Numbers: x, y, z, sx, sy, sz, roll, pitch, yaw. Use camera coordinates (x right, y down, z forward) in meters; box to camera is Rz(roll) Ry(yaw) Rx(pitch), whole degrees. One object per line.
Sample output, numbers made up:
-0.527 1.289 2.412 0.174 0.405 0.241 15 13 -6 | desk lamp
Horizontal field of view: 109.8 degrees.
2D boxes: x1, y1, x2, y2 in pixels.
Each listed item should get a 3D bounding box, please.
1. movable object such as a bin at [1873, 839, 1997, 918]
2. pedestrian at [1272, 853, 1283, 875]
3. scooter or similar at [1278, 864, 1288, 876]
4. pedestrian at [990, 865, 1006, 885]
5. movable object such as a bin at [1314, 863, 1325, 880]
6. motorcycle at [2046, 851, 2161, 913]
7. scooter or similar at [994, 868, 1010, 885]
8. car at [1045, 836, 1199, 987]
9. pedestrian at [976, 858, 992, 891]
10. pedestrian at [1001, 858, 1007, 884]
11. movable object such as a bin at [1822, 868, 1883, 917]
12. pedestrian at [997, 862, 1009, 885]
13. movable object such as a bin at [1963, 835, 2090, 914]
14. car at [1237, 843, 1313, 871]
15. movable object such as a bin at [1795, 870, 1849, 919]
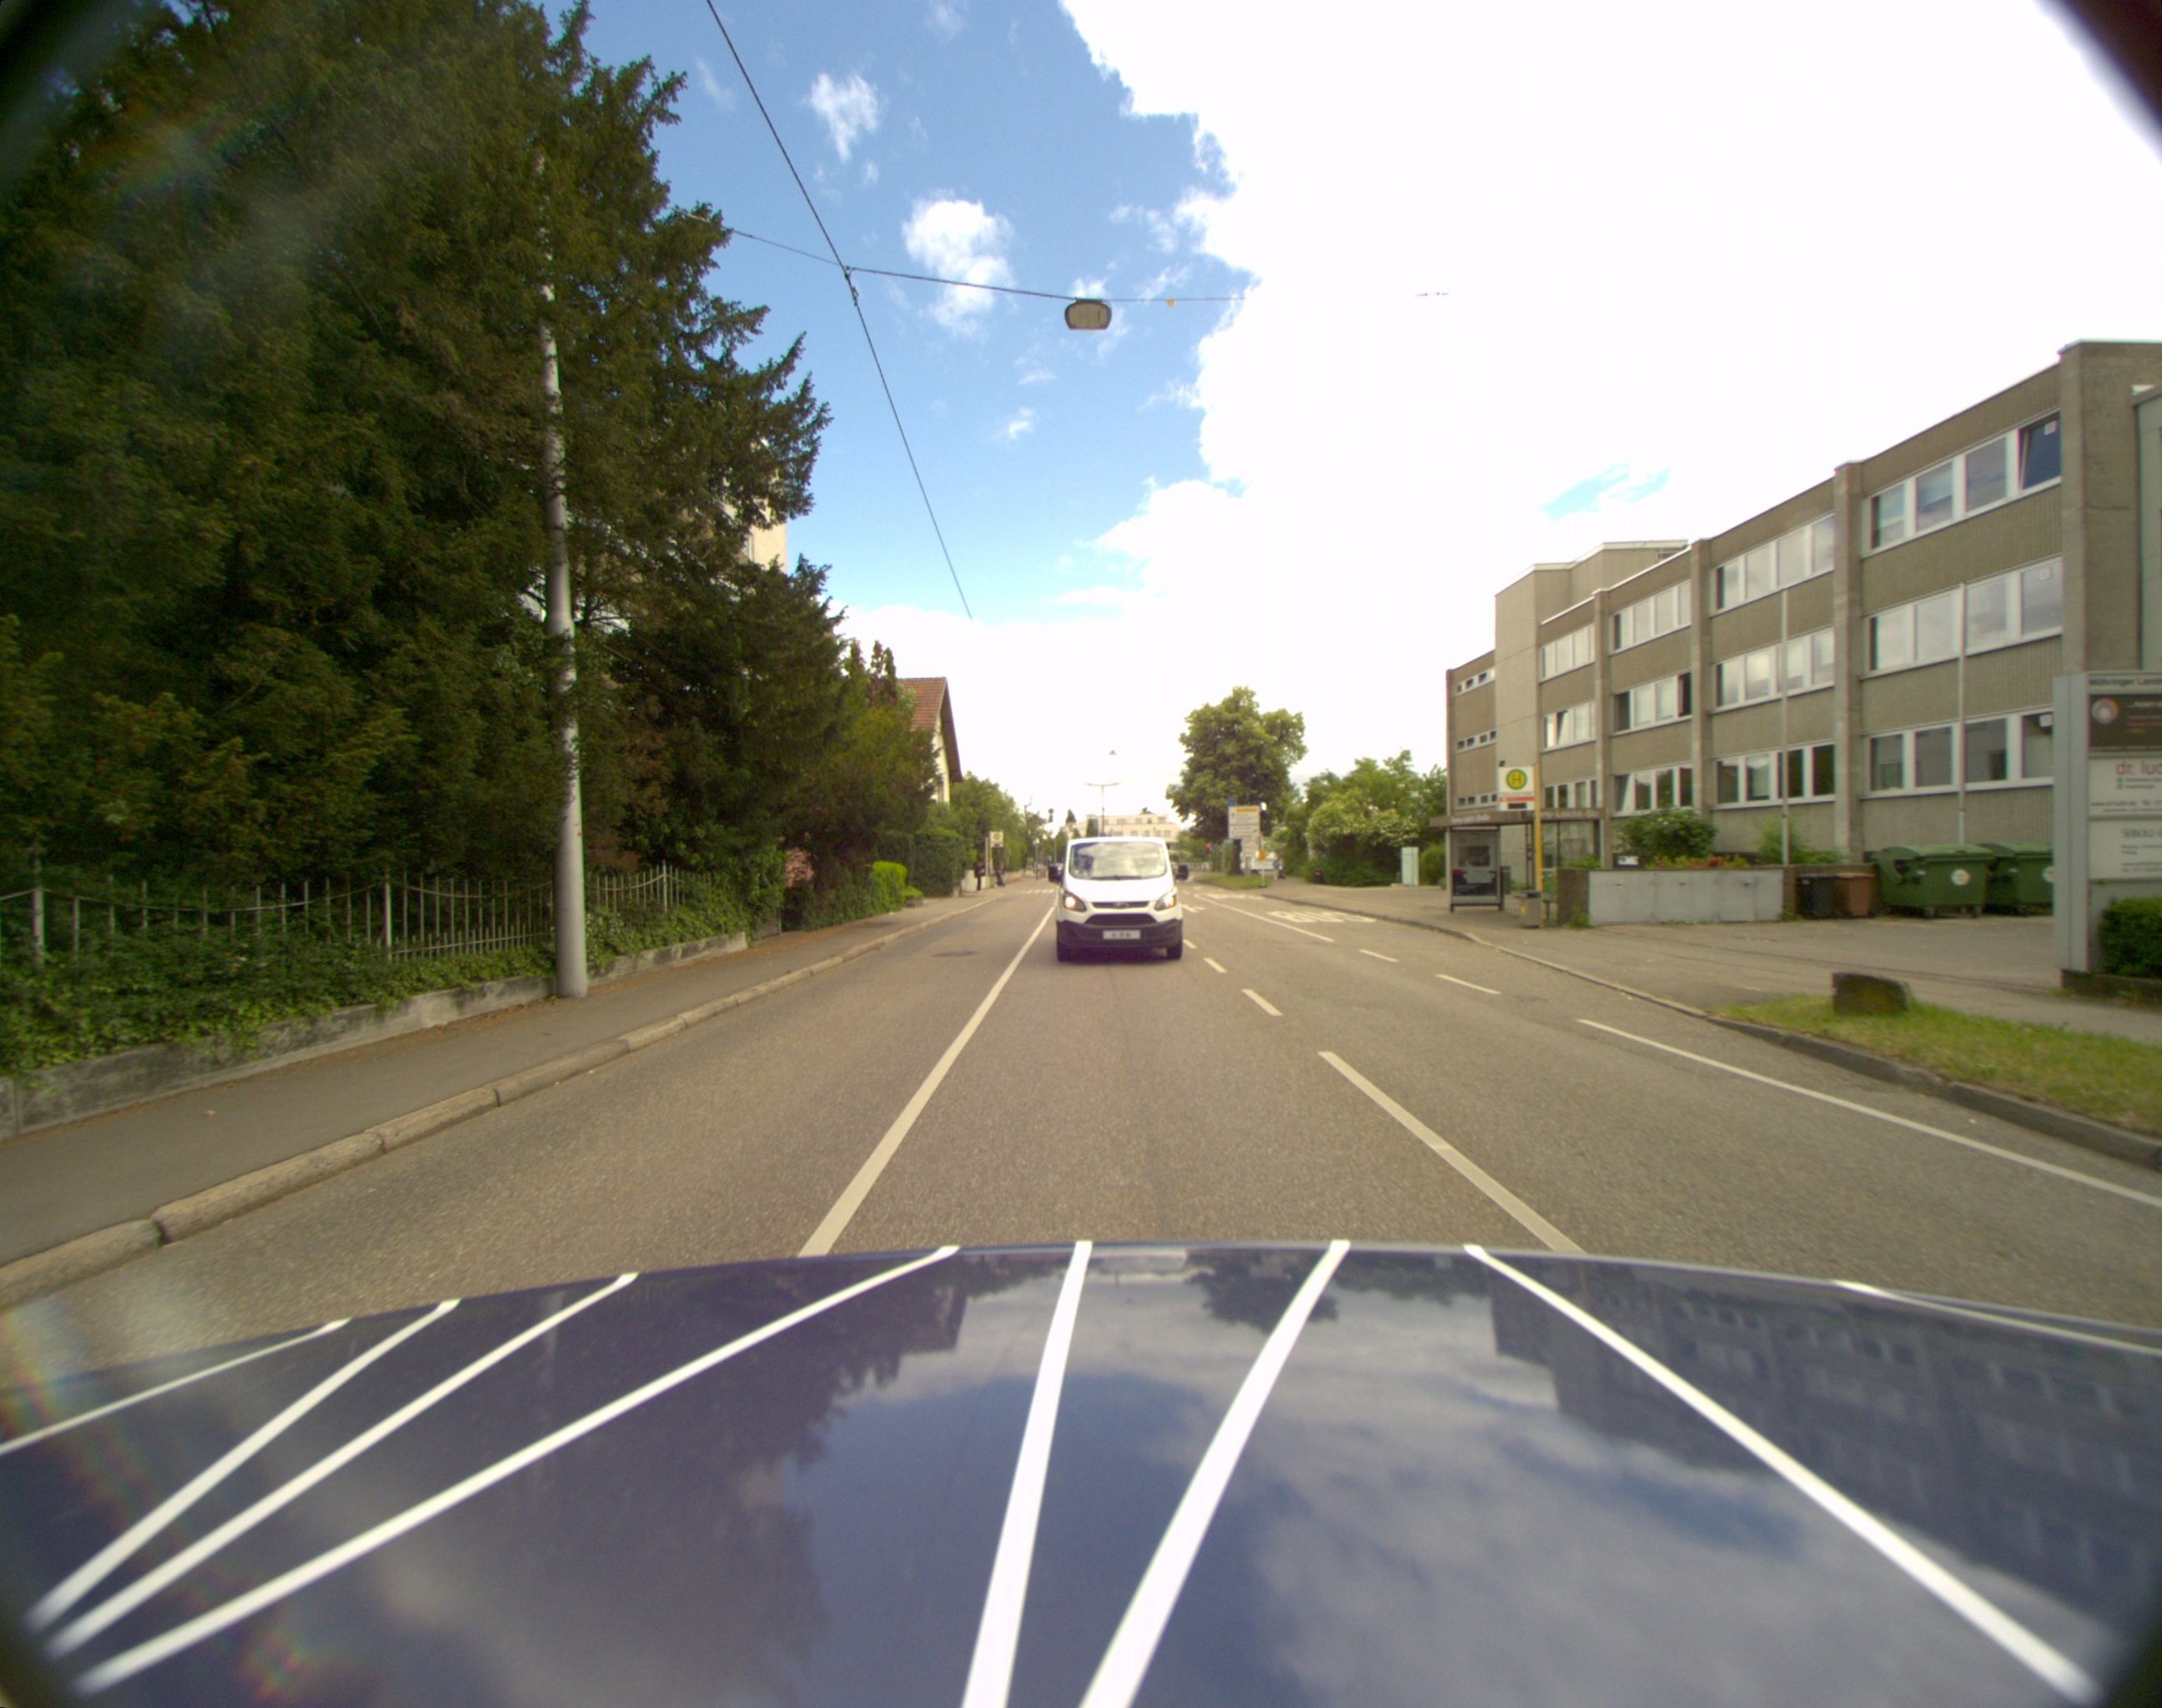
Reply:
16.829 0.465 15.000 1.301 1.456 0.992 -2 1 1 | movable object such as a bin
13.791 0.691 53.412 0.672 1.549 0.520 -2 1 18 | pedestrian
13.913 1.097 52.422 0.607 0.782 0.860 -2 1 17 | scooter or similar
-5.255 1.341 48.168 0.916 1.244 0.789 2 0 -5 | pedestrian
13.581 0.973 43.236 0.566 0.922 0.608 -1 1 16 | movable object such as a bin
20.256 0.536 14.970 1.645 1.133 0.639 -2 1 1 | motorcycle
-5.101 1.470 49.170 0.478 1.091 0.860 3 0 43 | scooter or similar
0.524 0.762 13.111 1.999 1.961 5.714 -2 0 -1 | car
-5.326 1.128 41.660 0.489 1.756 0.672 -2 1 32 | pedestrian
-5.337 1.182 52.735 0.344 1.745 0.496 2 1 -4 | pedestrian
15.468 0.768 15.237 0.634 0.933 0.562 -2 1 1 | movable object such as a bin
-5.135 1.281 50.020 0.661 1.526 0.748 2 1 -1 | pedestrian
18.531 0.392 14.919 1.365 1.456 0.885 -2 1 1 | movable object such as a bin
20.359 0.344 79.872 7.429 2.630 2.201 -2 1 22 | car
14.837 0.798 15.231 0.517 0.933 0.562 -2 1 1 | movable object such as a bin
